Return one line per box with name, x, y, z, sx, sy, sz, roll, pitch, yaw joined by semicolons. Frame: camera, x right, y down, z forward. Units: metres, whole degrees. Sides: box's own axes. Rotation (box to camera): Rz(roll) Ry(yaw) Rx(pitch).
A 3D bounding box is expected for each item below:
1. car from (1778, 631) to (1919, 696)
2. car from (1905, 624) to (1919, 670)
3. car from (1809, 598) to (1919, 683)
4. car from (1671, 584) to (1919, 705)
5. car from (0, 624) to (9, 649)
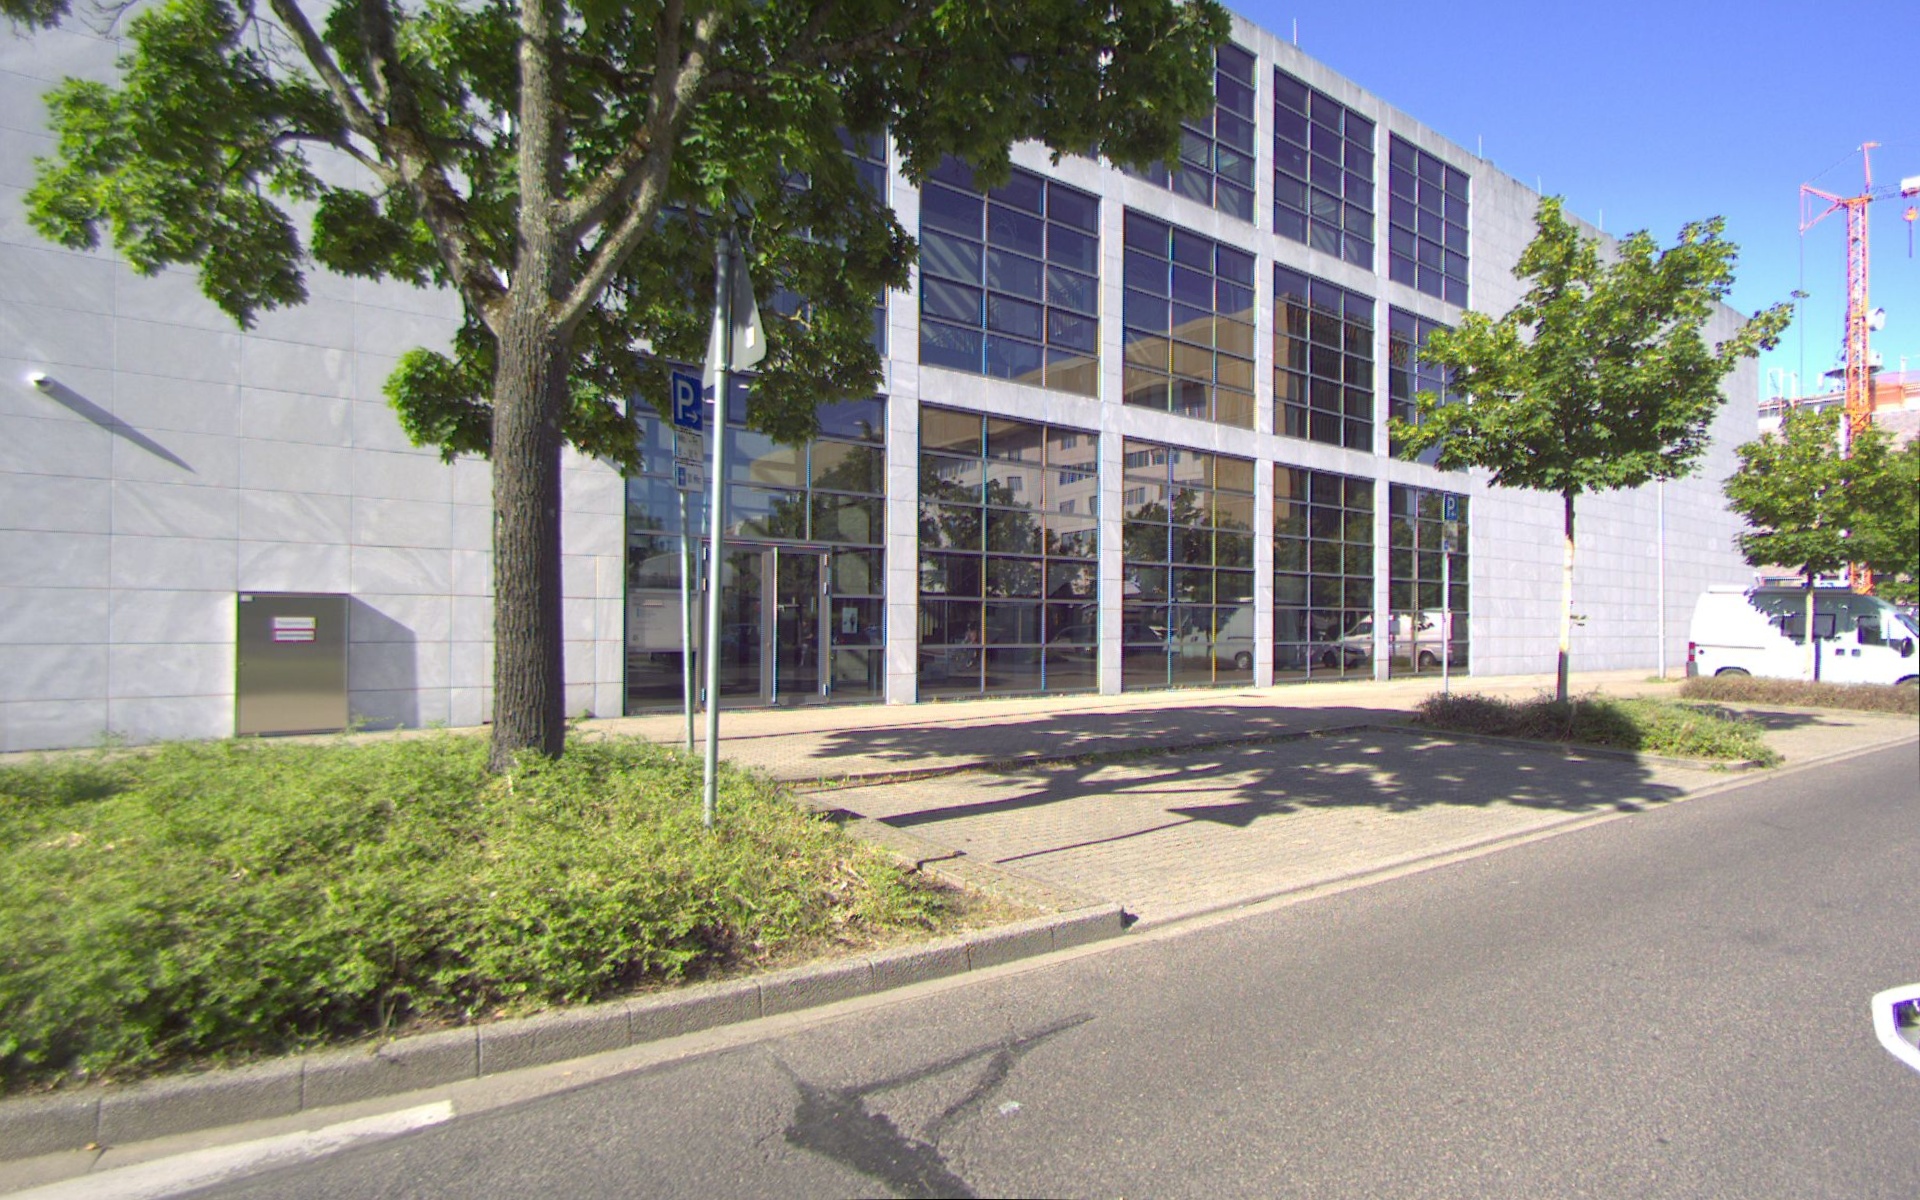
car;23.750;1.613;25.875;1.829;1.491;3.806;1;0;-34
car;36.890;1.776;36.090;1.808;1.686;3.963;2;0;-33
car;28.962;1.218;29.720;1.967;2.442;5.516;1;0;-34
car;19.534;0.916;22.700;2.102;2.451;5.213;1;0;-35
car;-76.063;2.832;78.523;1.886;2.011;4.329;2;-2;-35
